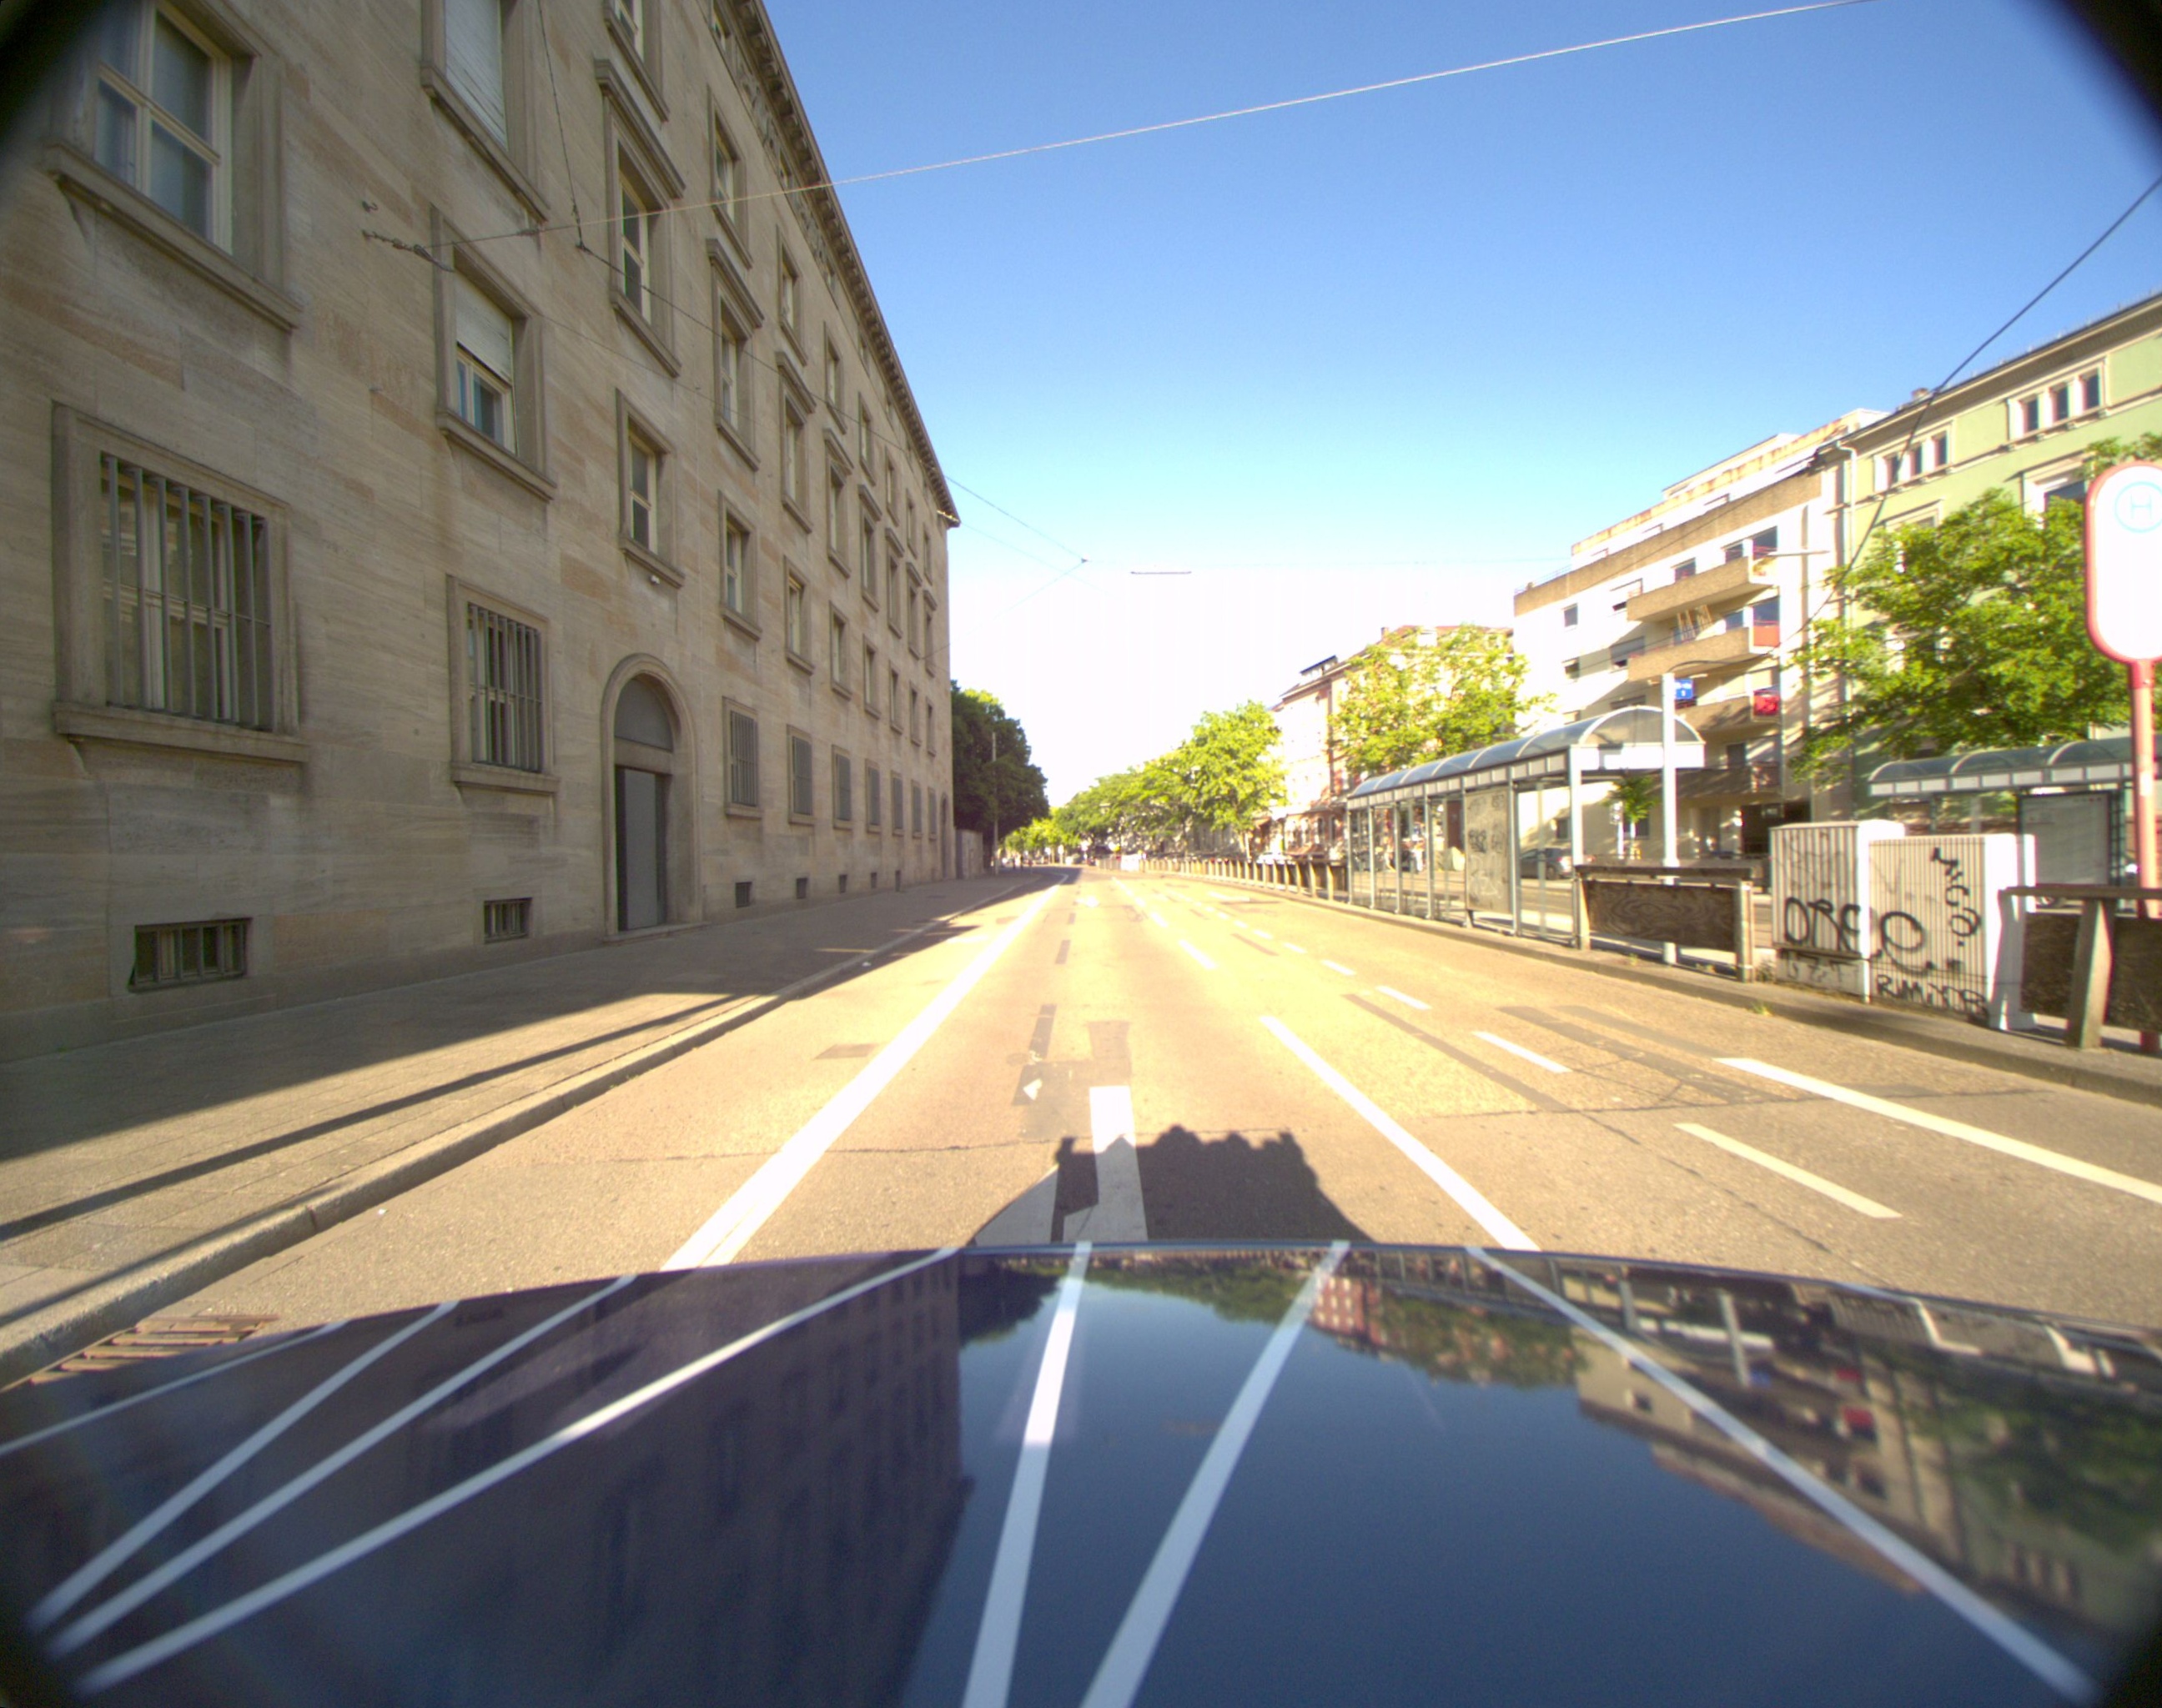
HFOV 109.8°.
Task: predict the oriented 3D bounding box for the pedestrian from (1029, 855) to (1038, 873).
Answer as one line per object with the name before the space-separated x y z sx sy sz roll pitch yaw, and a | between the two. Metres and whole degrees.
pedestrian | -3.678 0.764 58.888 0.548 1.327 0.587 -1 1 7

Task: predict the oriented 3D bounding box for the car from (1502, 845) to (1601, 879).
car | 20.911 0.324 33.937 1.654 1.419 3.737 -1 0 -11

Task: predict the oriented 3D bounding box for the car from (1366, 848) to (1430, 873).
car | 18.535 0.358 44.647 1.609 1.388 3.997 -1 0 -9

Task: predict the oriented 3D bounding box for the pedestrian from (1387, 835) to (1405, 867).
pedestrian | 21.354 -0.203 51.458 0.813 2.194 0.756 -1 1 -10

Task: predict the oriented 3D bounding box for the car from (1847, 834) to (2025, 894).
car | 24.504 0.268 21.804 4.002 1.573 1.761 -1 0 -14

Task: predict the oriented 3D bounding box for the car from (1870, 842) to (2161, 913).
car | 20.654 0.462 17.059 1.670 1.400 3.877 0 0 -5

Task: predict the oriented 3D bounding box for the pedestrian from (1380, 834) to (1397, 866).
pedestrian | 21.218 -0.278 52.444 0.813 2.194 0.756 -1 1 -10

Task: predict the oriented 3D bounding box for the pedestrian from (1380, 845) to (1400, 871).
pedestrian | 19.423 0.255 47.790 0.870 1.619 0.889 -2 1 -42

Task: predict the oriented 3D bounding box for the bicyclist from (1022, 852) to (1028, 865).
bicyclist | -6.924 0.560 94.096 0.728 1.570 0.775 0 1 1

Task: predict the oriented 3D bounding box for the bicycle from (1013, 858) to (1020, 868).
bicycle | -8.055 1.079 94.417 0.625 1.214 1.659 -3 1 1

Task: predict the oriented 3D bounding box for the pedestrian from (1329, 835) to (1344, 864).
pedestrian | 19.367 -0.328 57.669 0.813 2.194 0.756 -1 1 -10

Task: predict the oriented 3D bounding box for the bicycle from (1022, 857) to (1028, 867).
bicycle | -6.966 0.949 94.048 0.625 1.167 1.566 0 0 1

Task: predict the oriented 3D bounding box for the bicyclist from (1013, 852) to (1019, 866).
bicyclist | -8.081 0.619 94.391 0.625 1.729 0.688 -3 1 1

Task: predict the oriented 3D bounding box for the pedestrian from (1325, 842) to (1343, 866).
pedestrian | 18.434 0.002 55.348 0.855 1.710 1.019 -1 1 -8

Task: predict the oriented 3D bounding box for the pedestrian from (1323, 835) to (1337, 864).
pedestrian | 19.433 -0.349 59.299 0.812 2.194 0.756 -1 1 -4

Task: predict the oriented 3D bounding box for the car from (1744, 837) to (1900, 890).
car | 23.705 0.271 24.344 4.002 1.573 1.761 -1 0 -14

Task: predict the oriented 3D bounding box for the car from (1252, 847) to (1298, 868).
car | 16.270 0.252 63.635 4.134 1.698 1.848 -1 1 -45
